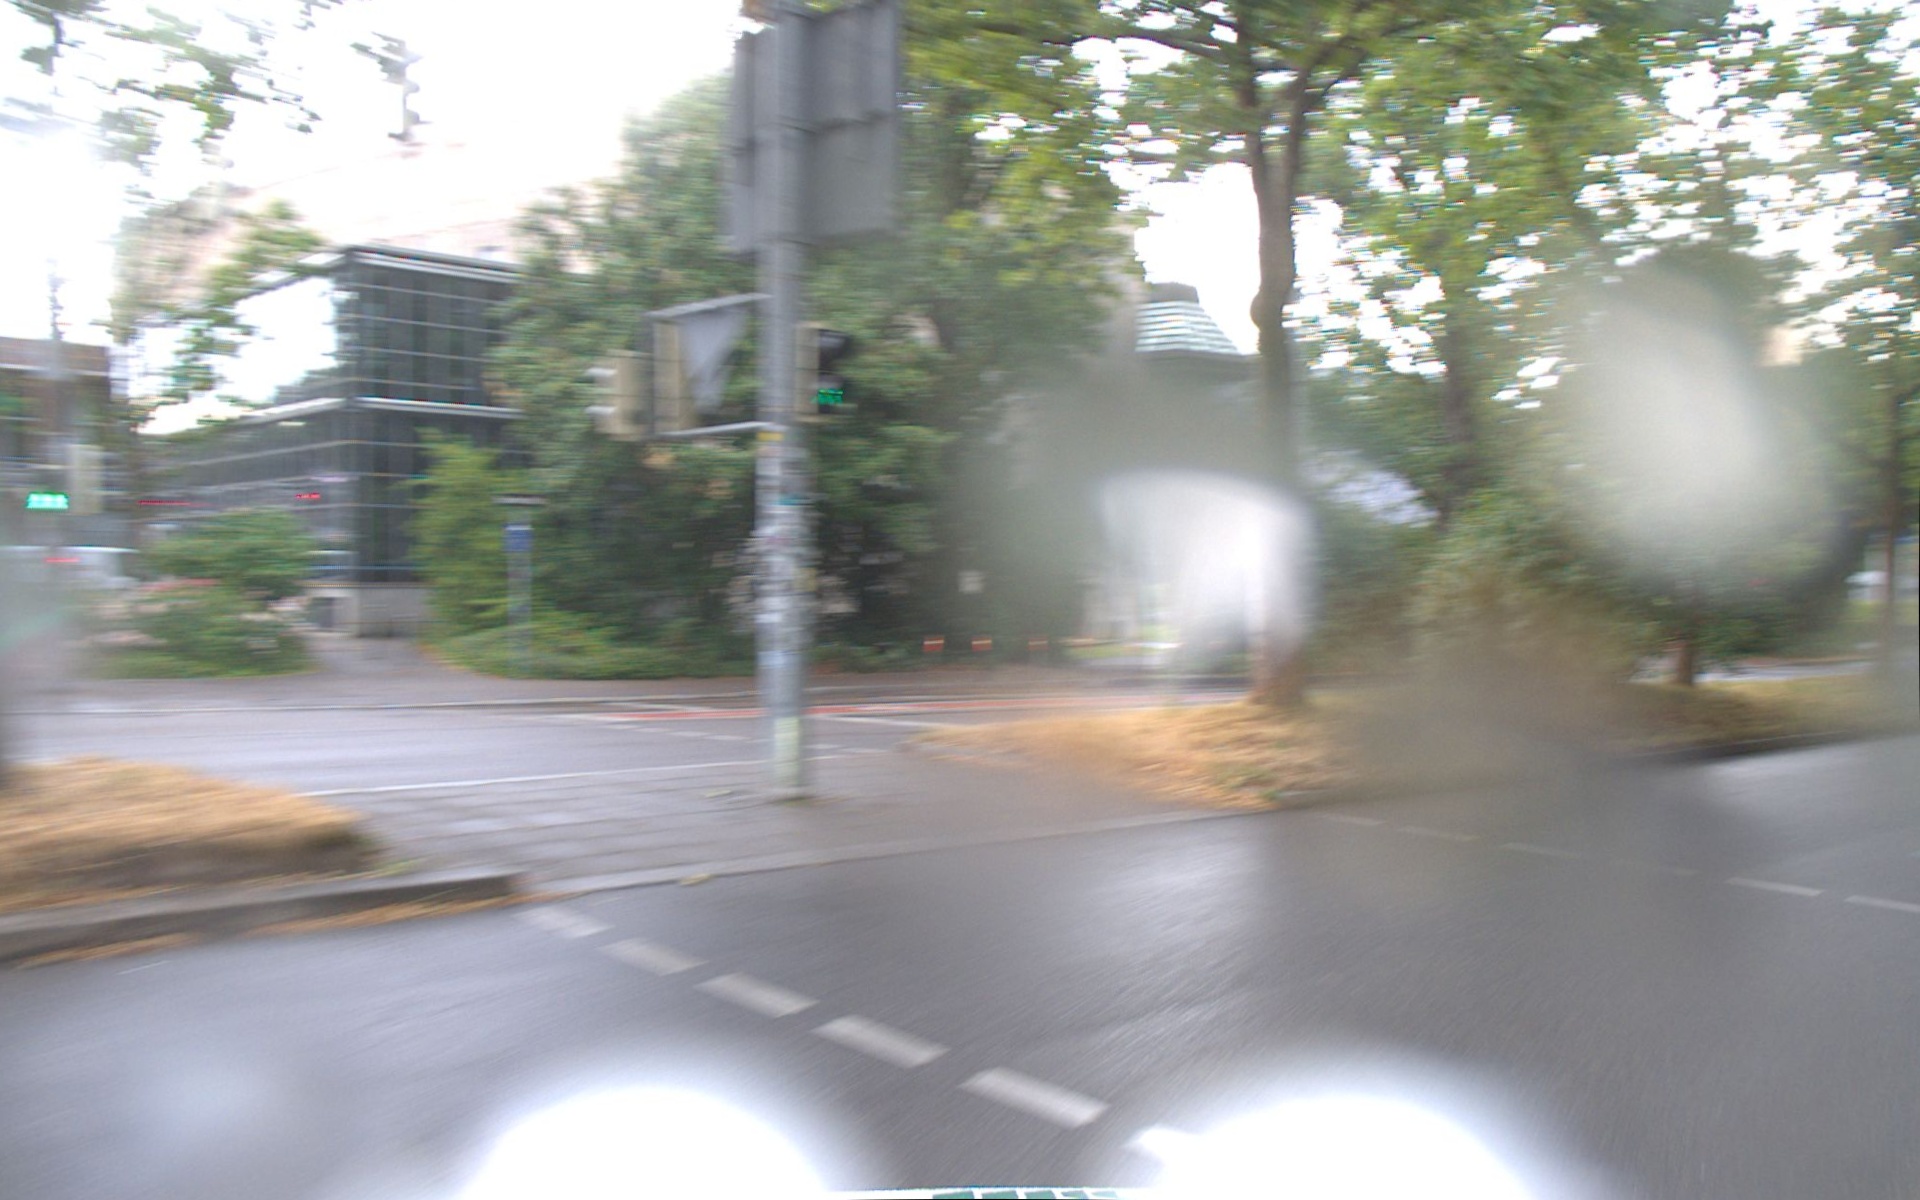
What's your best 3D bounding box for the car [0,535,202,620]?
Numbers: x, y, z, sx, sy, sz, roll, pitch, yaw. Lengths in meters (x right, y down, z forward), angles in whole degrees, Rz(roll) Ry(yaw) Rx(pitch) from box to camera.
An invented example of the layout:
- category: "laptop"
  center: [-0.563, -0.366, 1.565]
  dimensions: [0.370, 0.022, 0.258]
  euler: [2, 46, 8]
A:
- category: "car"
  center: [-19.829, -0.525, 36.869]
  dimensions: [1.834, 1.761, 5.205]
  euler: [2, 2, 31]
